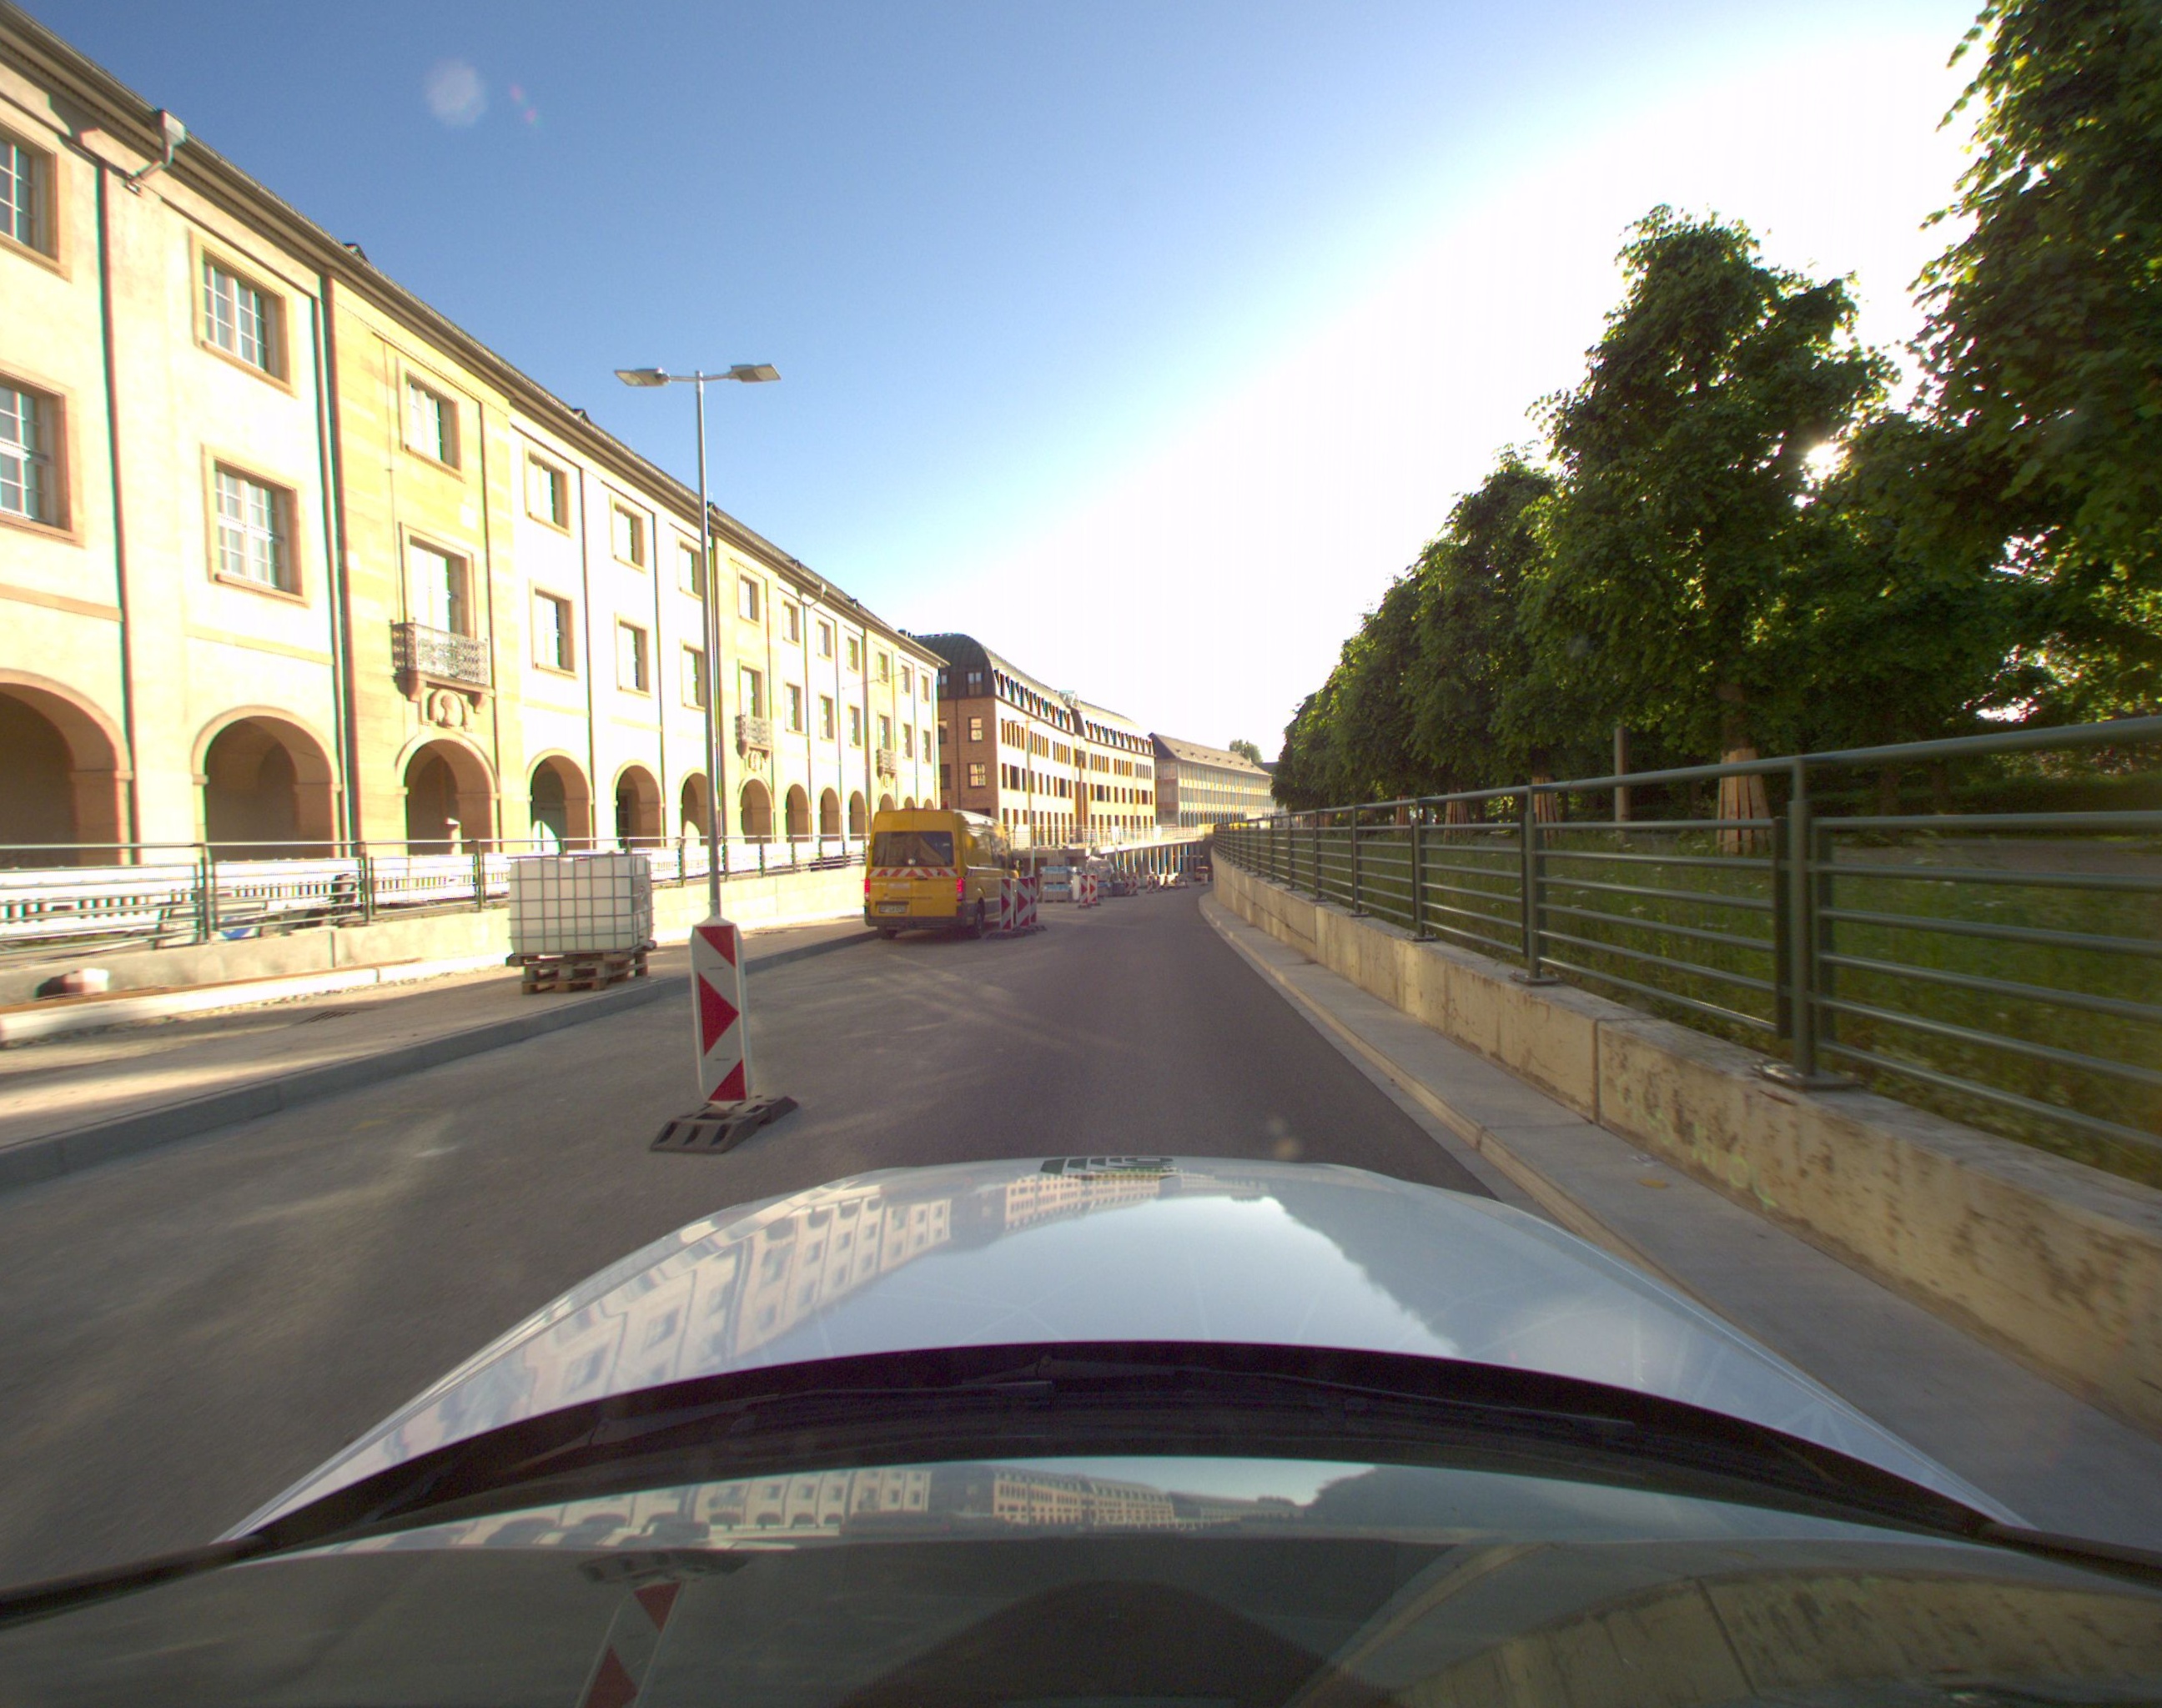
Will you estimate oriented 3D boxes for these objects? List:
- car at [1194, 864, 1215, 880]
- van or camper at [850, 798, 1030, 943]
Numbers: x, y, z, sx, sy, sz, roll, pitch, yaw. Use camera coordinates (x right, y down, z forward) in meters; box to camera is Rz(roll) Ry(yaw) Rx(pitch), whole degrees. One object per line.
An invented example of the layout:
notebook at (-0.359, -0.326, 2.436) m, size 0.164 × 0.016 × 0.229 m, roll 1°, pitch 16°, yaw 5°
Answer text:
car at (15.602, 2.254, 103.005) m, size 1.833 × 1.775 × 4.456 m, roll -1°, pitch 1°, yaw 19°
van or camper at (-2.774, 0.337, 18.206) m, size 2.183 × 2.612 × 6.834 m, roll 1°, pitch -1°, yaw 6°
